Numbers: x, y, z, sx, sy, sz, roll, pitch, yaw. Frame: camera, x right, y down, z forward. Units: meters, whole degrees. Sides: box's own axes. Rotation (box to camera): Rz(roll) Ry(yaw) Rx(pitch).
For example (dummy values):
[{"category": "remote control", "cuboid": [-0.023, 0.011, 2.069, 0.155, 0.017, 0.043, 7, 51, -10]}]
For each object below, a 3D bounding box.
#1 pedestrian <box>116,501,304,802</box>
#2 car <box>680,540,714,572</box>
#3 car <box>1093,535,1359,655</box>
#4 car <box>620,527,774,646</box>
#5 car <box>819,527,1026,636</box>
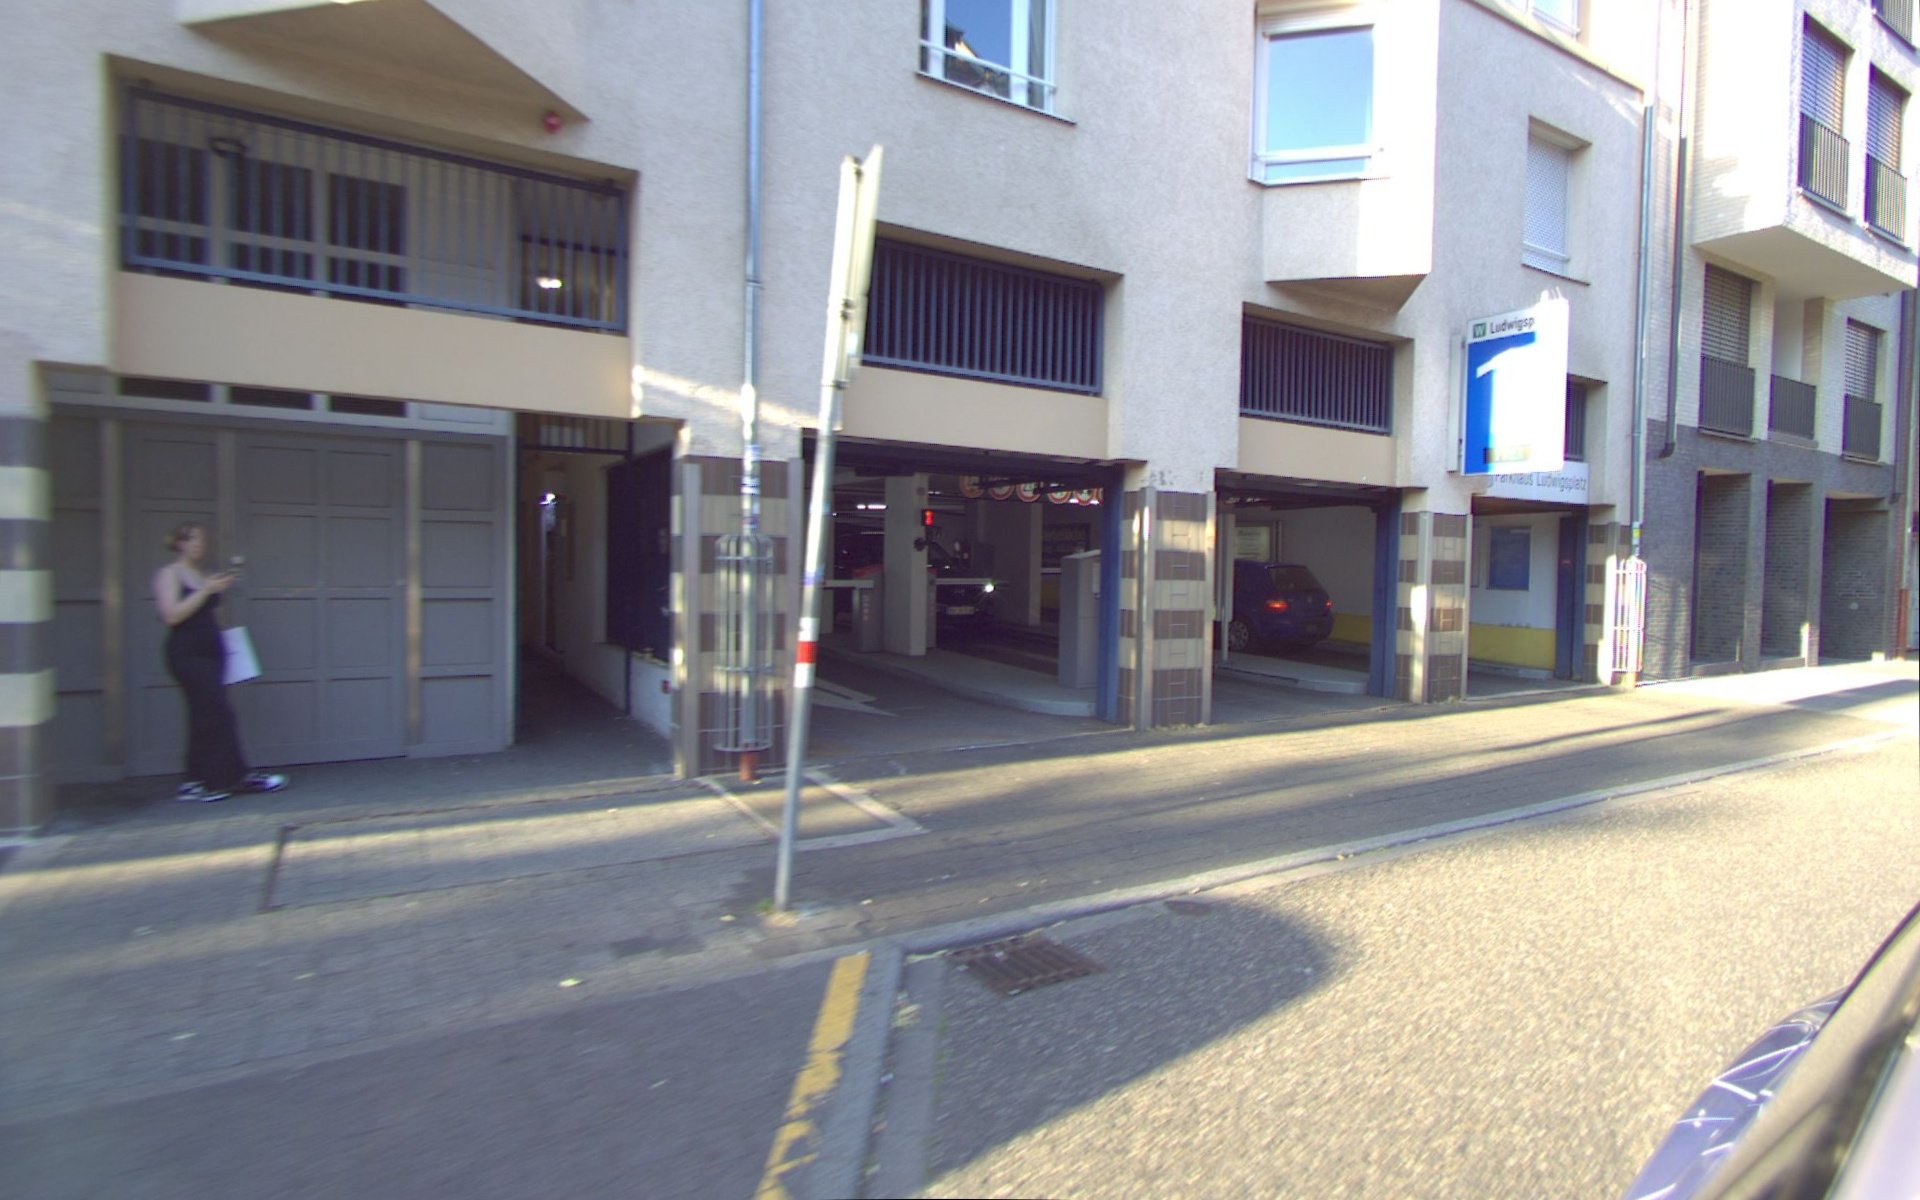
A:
[{"category": "pedestrian", "cuboid": [-4.232, 0.263, 5.765, 0.523, 1.591, 0.779, 1, 2, -4]}, {"category": "car", "cuboid": [-14.498, -2.428, 55.673, 1.528, 1.637, 3.891, 0, 3, -18]}, {"category": "car", "cuboid": [4.106, -0.184, 16.317, 1.660, 1.581, 4.126, 0, 5, -30]}, {"category": "car", "cuboid": [-4.223, -0.316, 15.773, 1.781, 1.592, 4.262, -1, 4, -22]}, {"category": "car", "cuboid": [-0.798, -0.387, 17.613, 1.853, 1.644, 4.307, 0, 3, -29]}]
